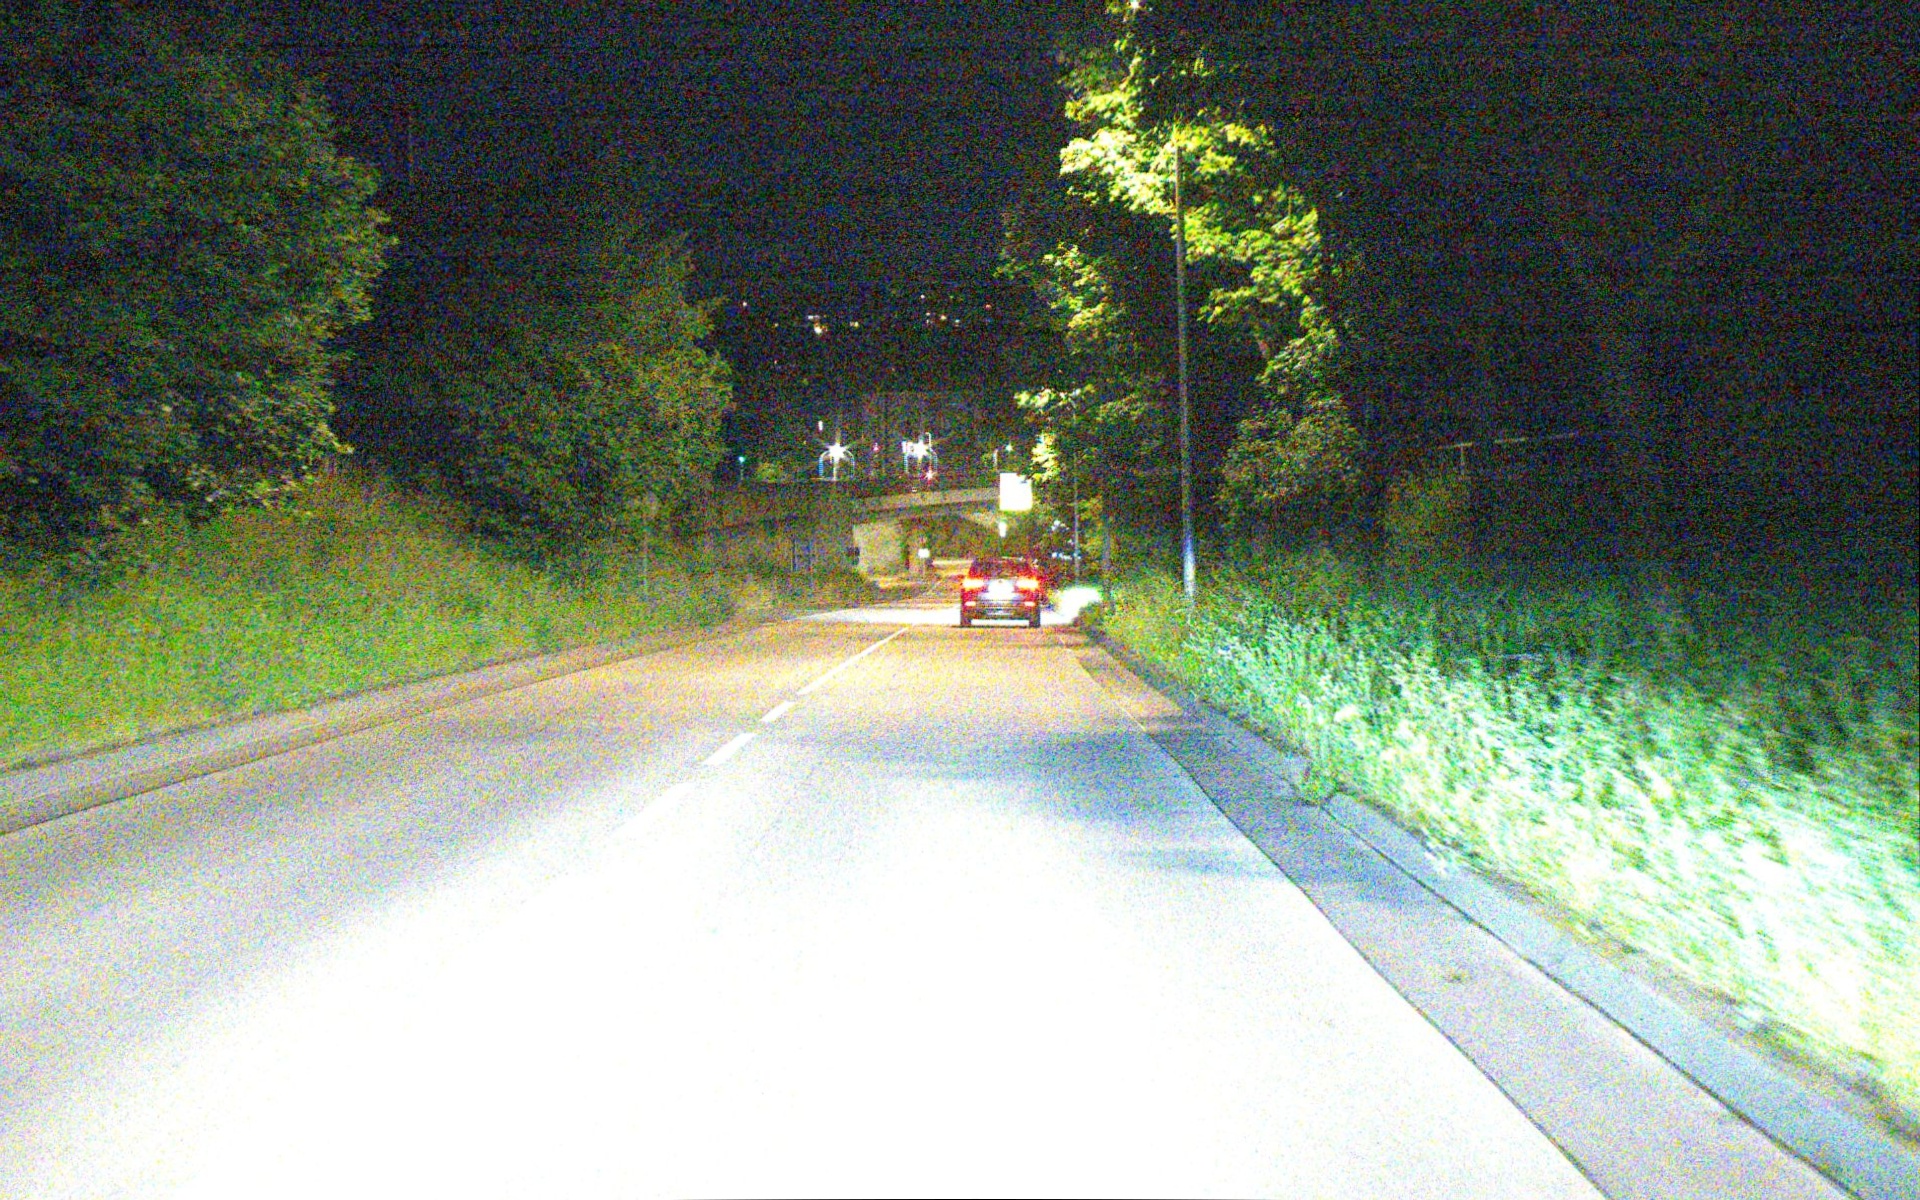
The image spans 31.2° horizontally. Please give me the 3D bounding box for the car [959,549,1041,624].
[{"bbox_3d":[0.936,-0.326,78.081,1.763,1.636,3.723,0,1,2],"label":"car"}]
